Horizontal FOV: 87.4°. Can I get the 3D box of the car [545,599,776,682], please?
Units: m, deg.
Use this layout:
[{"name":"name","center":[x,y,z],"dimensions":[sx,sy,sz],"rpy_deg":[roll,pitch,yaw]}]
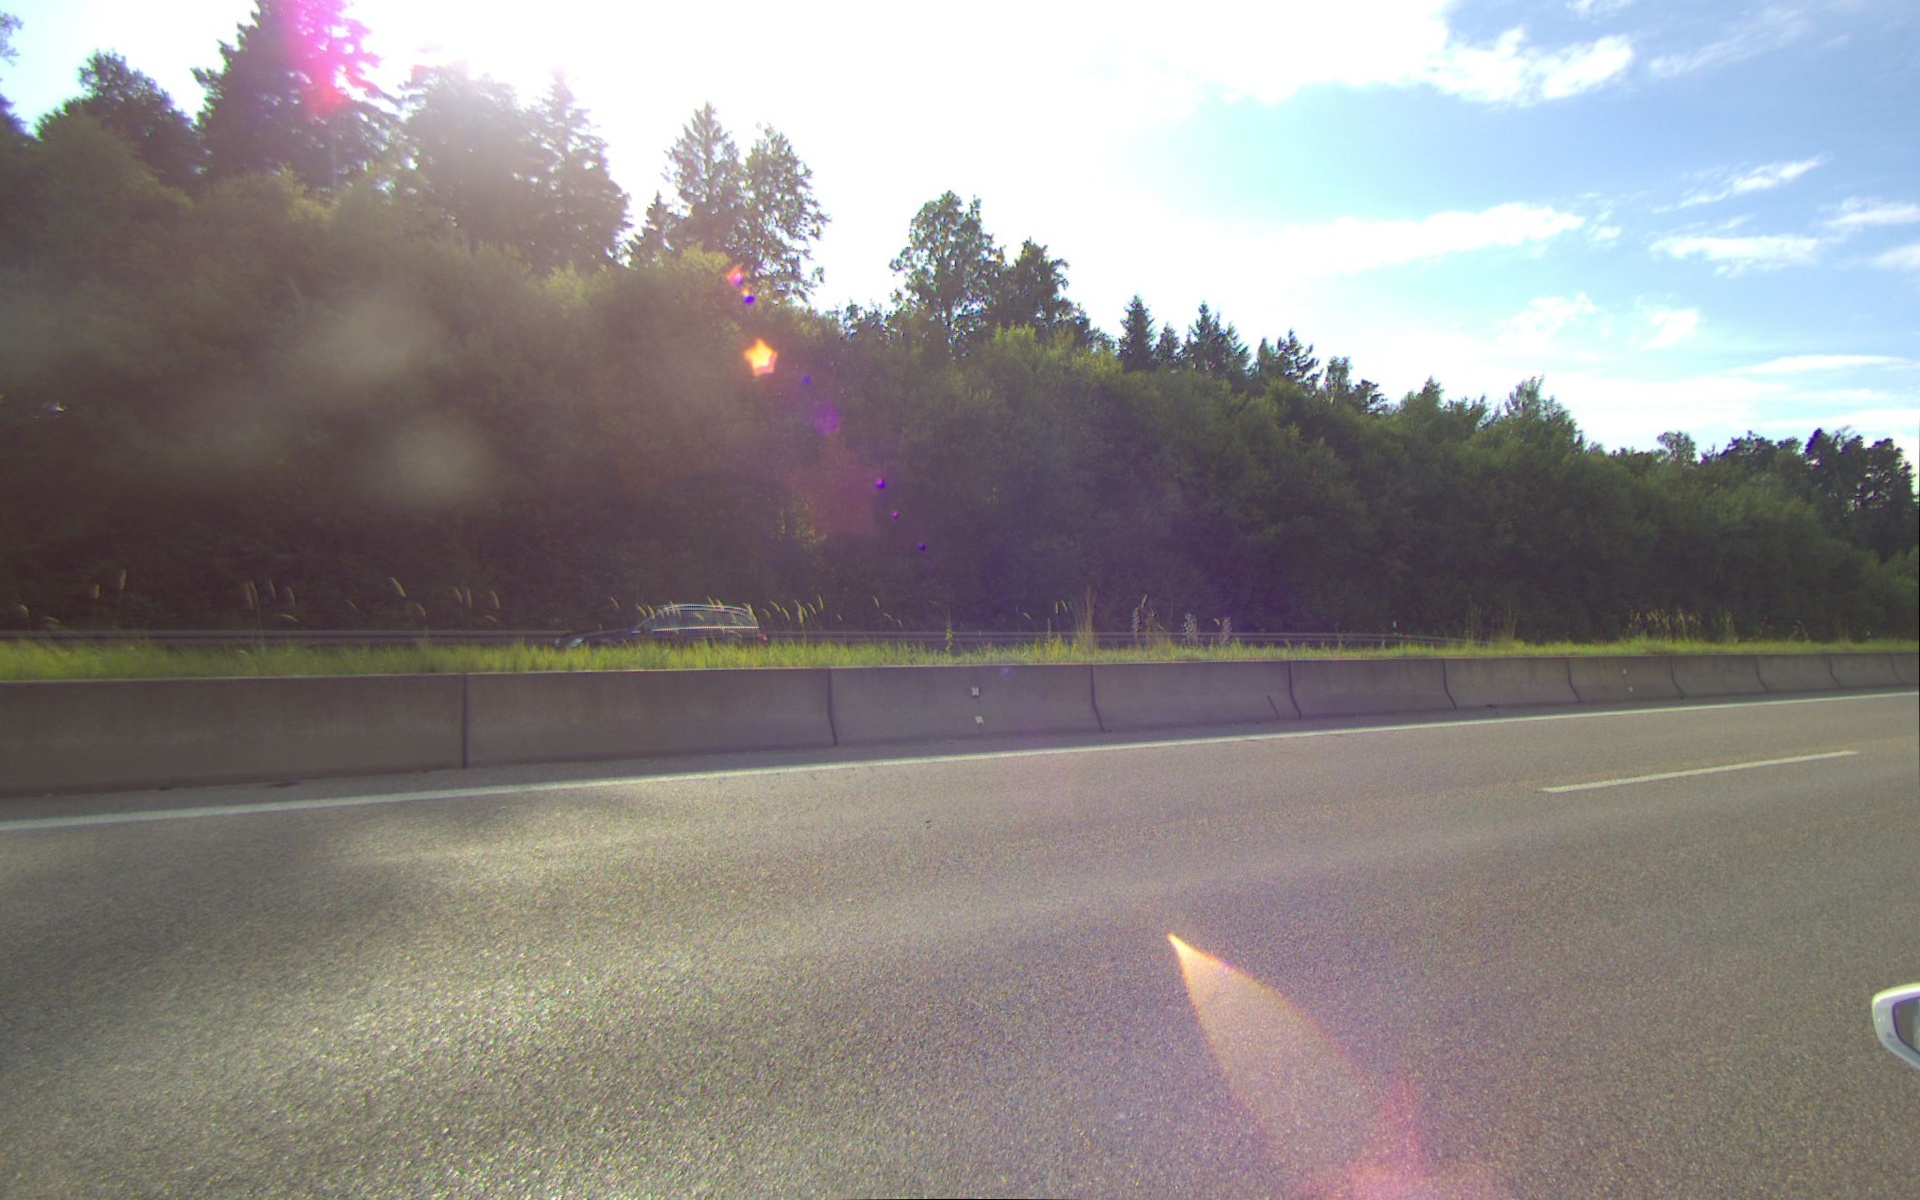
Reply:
[{"name":"car","center":[-6.502,0.840,21.933],"dimensions":[4.517,1.649,1.870],"rpy_deg":[1,0,-31]}]
